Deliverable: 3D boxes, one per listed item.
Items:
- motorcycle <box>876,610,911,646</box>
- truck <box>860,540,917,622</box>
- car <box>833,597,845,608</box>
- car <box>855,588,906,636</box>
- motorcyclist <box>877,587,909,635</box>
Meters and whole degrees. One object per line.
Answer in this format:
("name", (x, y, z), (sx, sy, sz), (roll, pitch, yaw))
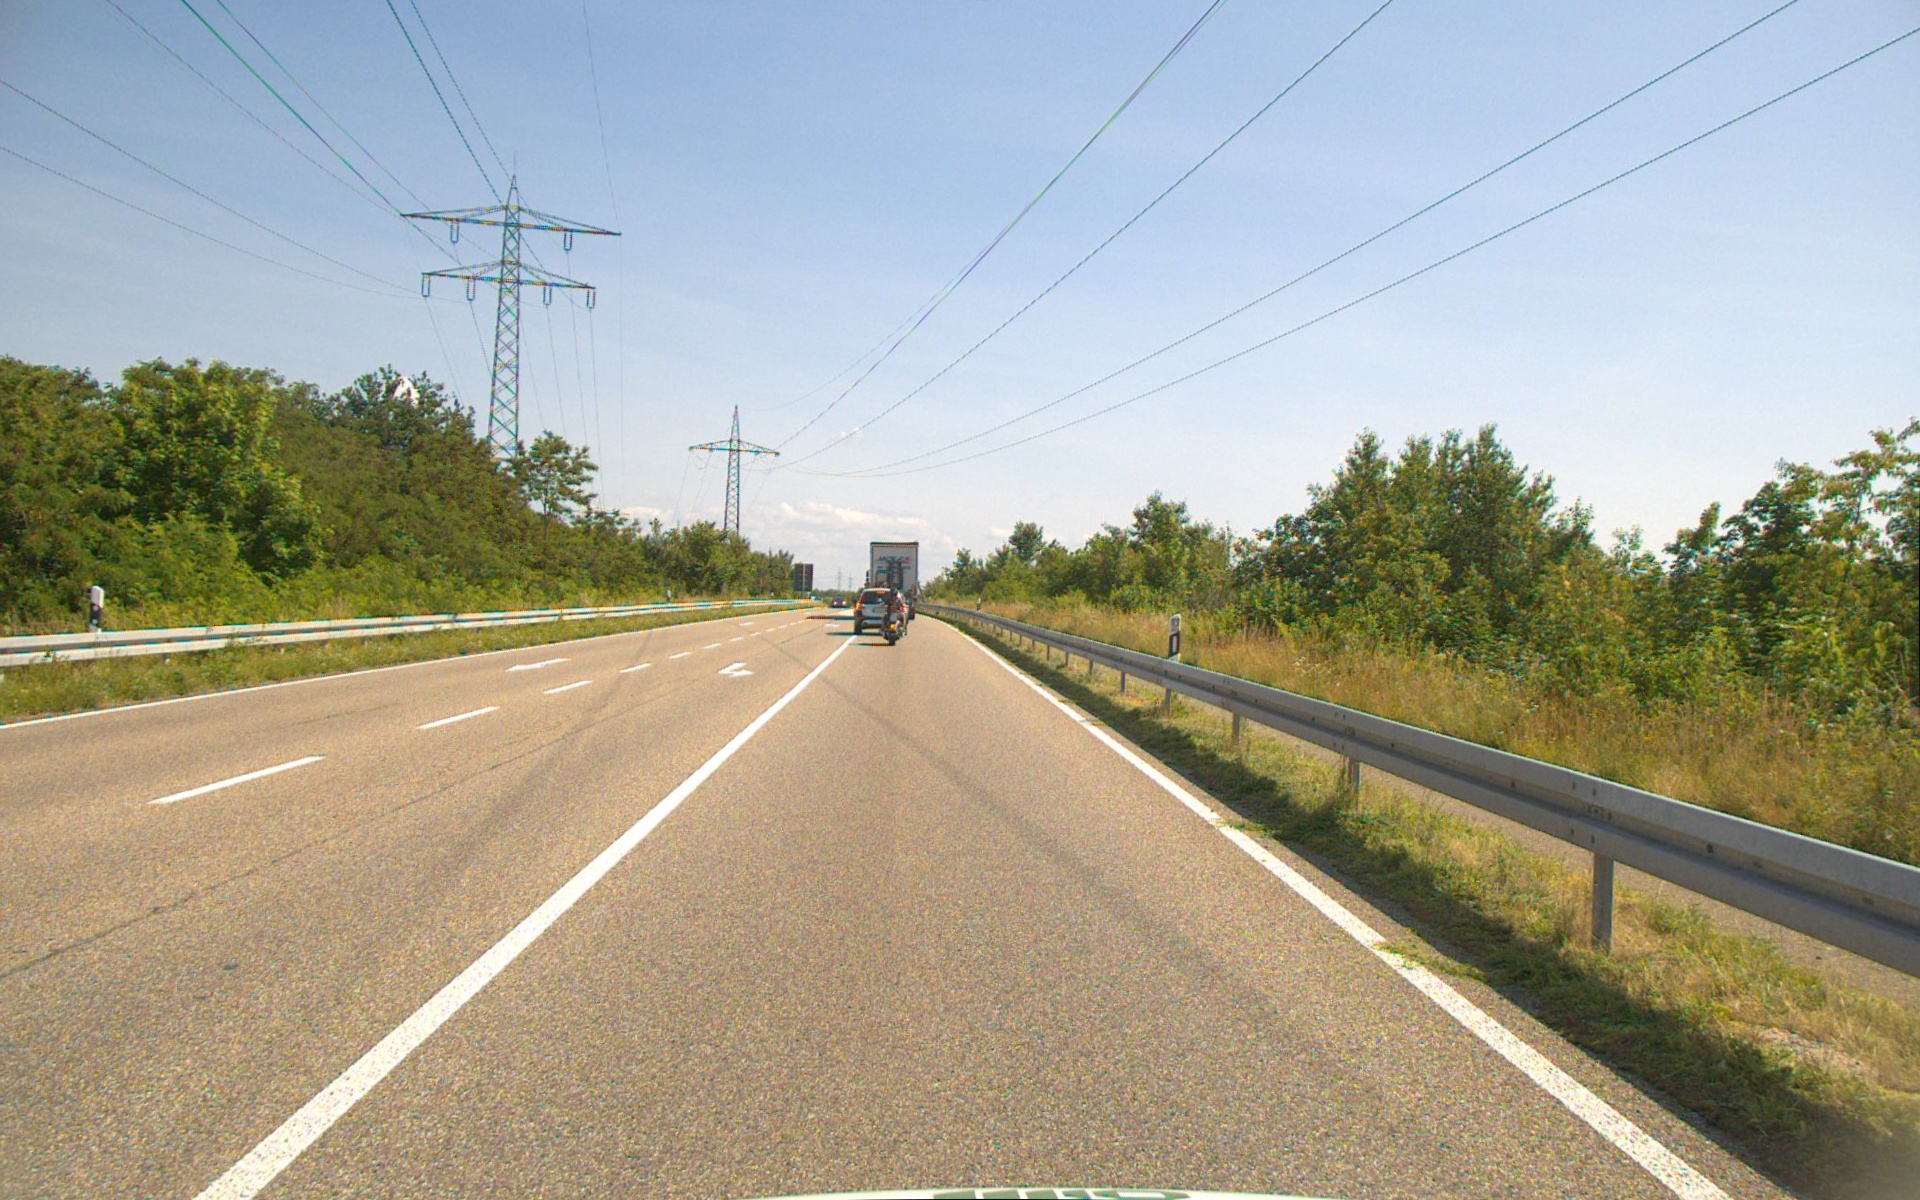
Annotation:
("motorcycle", (-1.858, 0.757, 45.884), (0.842, 0.931, 2.225), (1, 0, -5))
("truck", (-4.038, -1.026, 94.190), (2.908, 4.260, 14.814), (1, 0, -2))
("car", (-17.771, 0.371, 243.126), (1.693, 1.517, 4.419), (1, 0, -4))
("car", (-2.735, 0.383, 56.634), (1.667, 1.563, 3.497), (1, 0, -3))
("motorcyclist", (-1.853, 0.292, 45.929), (0.821, 1.303, 0.918), (1, 0, -6))
